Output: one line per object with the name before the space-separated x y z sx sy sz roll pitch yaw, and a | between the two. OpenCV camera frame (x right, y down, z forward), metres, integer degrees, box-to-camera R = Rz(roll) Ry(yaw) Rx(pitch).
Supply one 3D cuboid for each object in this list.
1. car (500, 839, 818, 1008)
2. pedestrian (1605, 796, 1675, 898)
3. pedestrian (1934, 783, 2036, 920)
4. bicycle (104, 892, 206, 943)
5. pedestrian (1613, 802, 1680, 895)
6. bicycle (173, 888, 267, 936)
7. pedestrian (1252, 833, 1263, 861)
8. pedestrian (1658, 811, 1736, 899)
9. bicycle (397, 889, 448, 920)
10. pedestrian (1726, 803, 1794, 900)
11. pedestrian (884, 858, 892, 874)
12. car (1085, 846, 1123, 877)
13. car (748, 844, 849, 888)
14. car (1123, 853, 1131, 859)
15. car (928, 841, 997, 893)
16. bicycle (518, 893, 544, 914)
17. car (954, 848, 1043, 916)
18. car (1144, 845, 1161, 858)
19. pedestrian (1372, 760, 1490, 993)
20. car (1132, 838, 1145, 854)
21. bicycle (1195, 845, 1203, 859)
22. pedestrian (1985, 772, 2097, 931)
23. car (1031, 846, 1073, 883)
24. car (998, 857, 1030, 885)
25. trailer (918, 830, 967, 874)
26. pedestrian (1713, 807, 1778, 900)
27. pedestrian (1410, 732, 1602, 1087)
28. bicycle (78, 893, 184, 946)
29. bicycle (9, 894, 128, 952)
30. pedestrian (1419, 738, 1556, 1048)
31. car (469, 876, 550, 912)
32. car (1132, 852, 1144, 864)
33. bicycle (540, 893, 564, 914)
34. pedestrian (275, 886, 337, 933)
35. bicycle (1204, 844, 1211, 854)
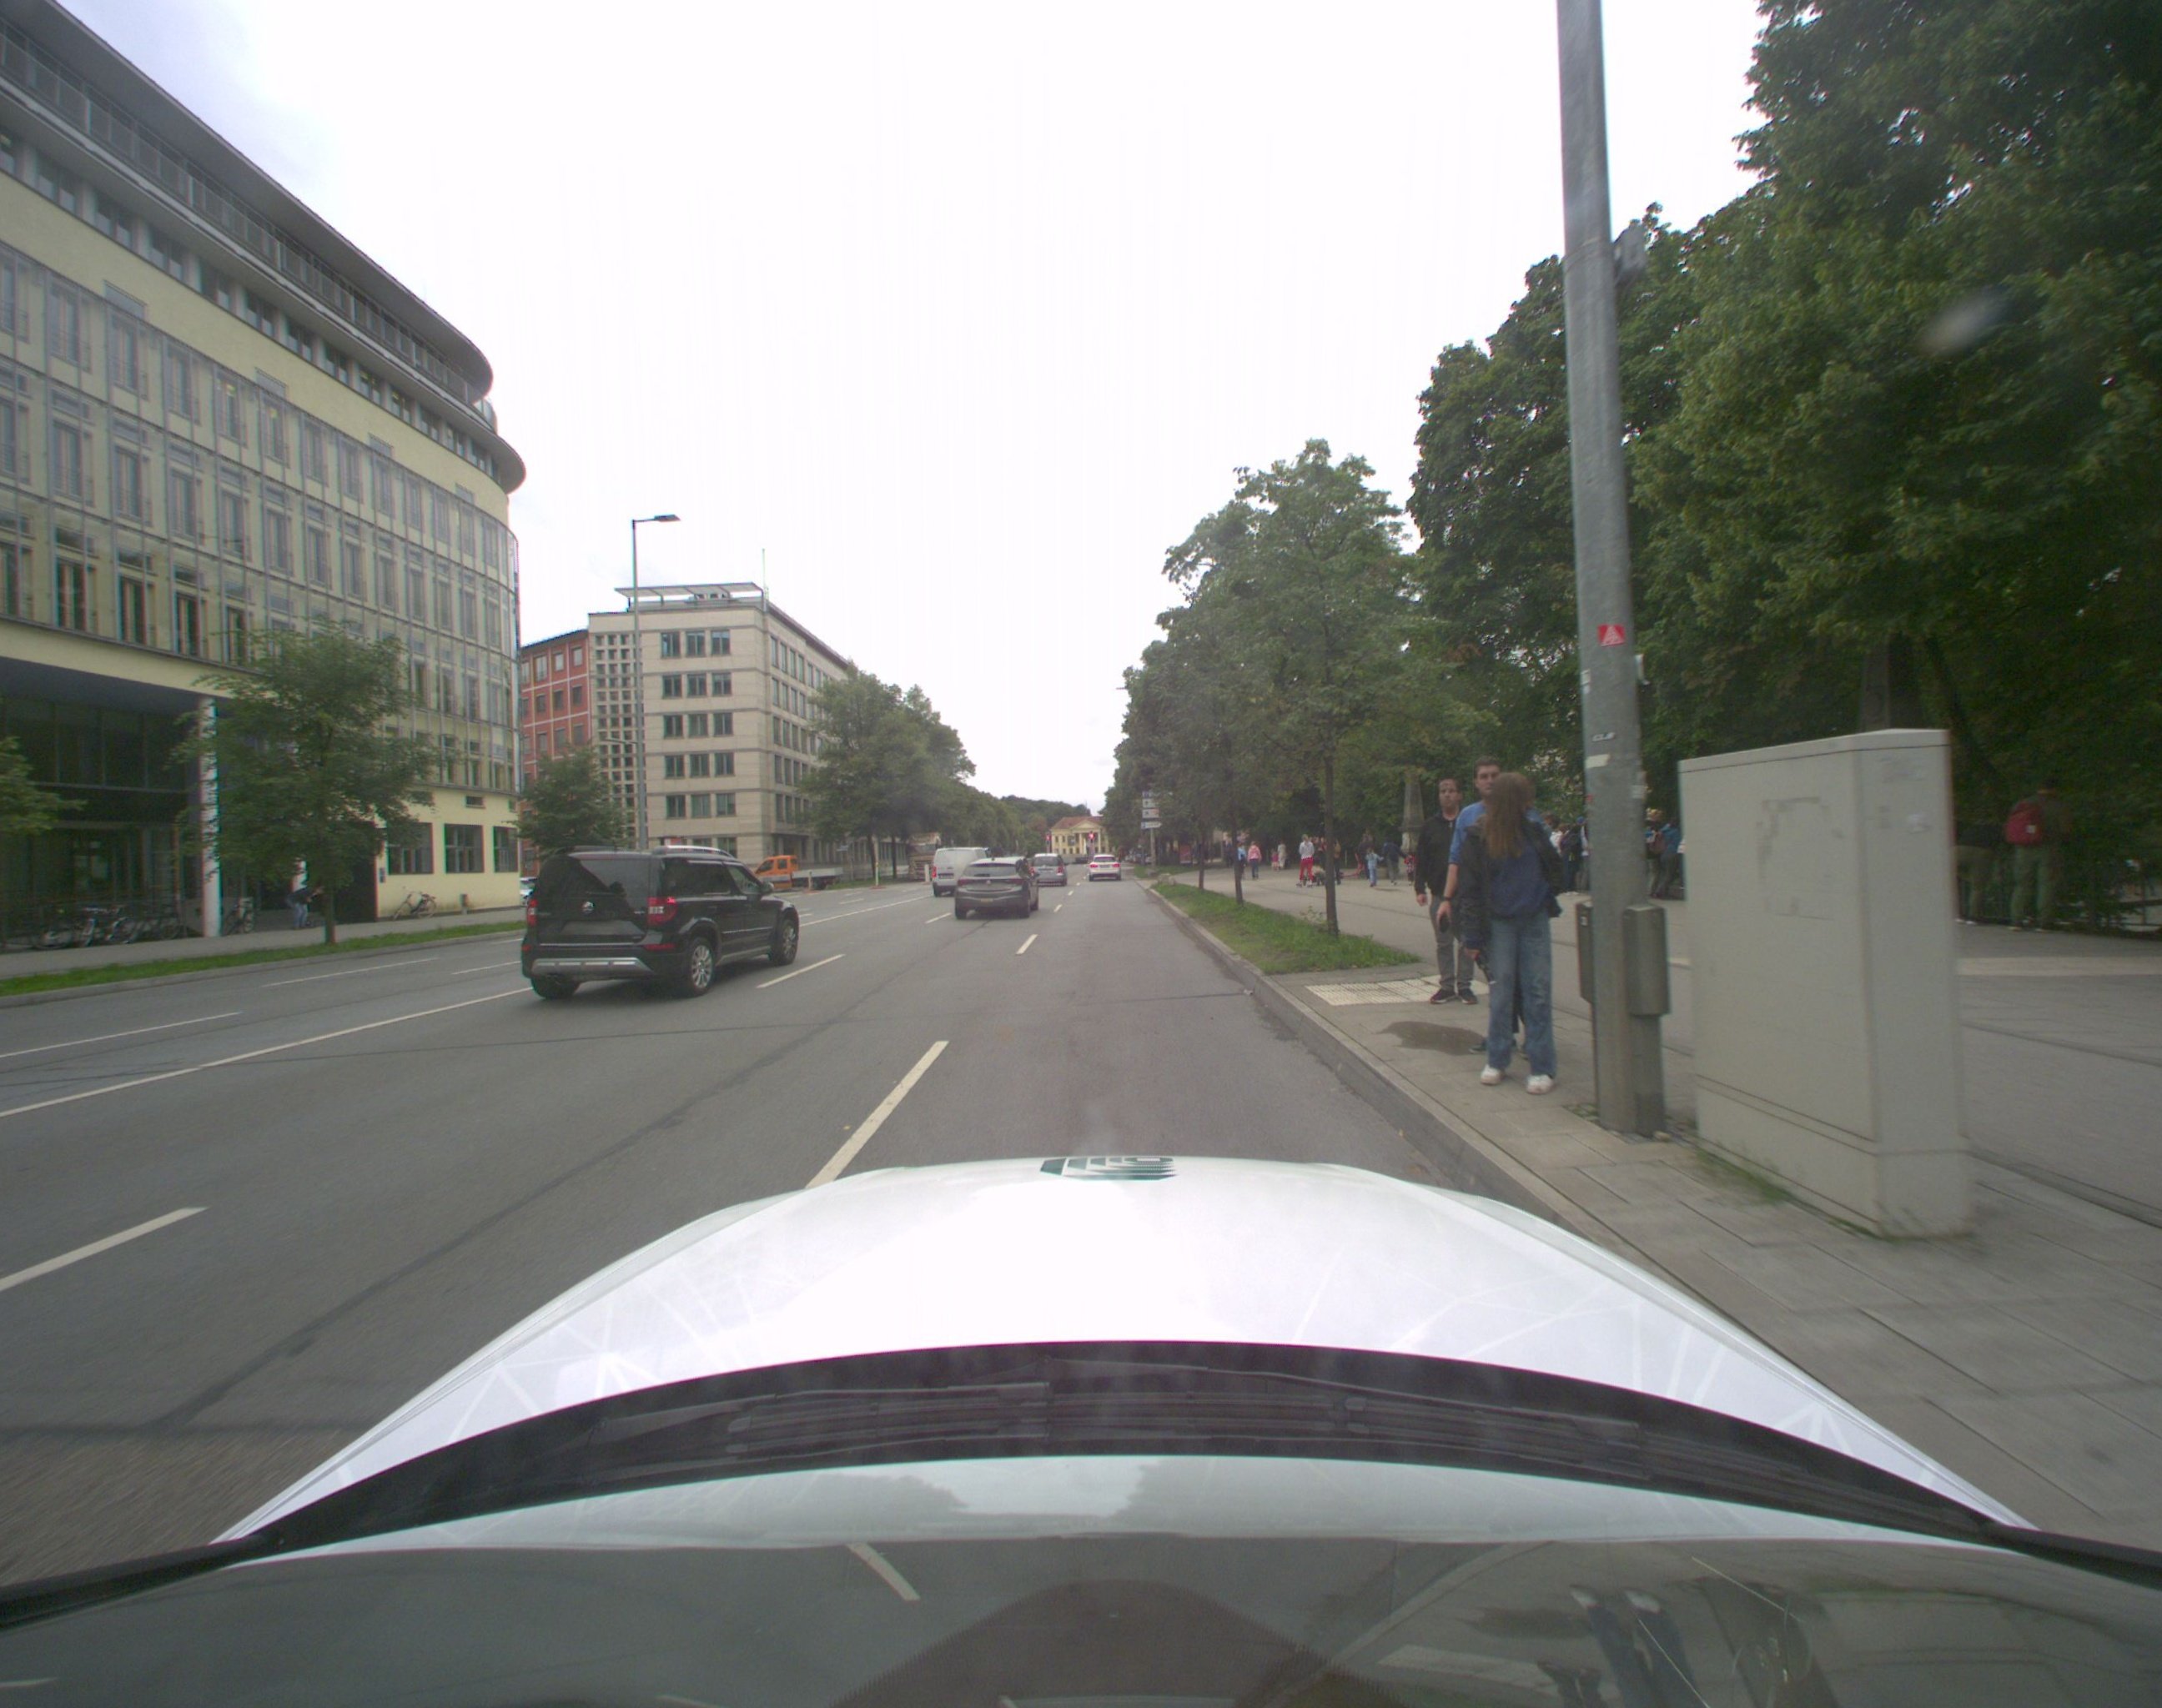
car | -4.954 0.705 10.353 1.716 1.636 4.206 -2 0 1
pedestrian | 10.382 -0.127 15.148 0.808 1.829 0.729 -1 0 4
pedestrian | 11.078 -0.034 9.992 0.633 1.627 0.533 -1 0 4
bicycle | -25.449 1.736 22.395 2.004 1.318 0.574 -1 0 -4
pedestrian | 11.063 -0.102 15.949 0.808 1.768 0.729 -1 0 4
bicycle | -25.455 1.707 24.093 2.004 1.318 0.574 -1 0 -4
pedestrian | 11.802 -0.476 54.407 0.585 1.822 0.850 -1 0 2
pedestrian | 10.813 0.016 14.320 0.808 1.507 0.729 -1 0 4
bicycle | -23.976 1.821 29.670 0.571 1.013 1.592 -1 0 -2
pedestrian | 10.878 -0.042 13.065 0.633 1.507 0.533 -1 0 4
pedestrian | -21.811 1.382 92.038 0.576 1.732 0.764 -1 0 2
car | 1.258 0.379 46.178 1.775 1.644 3.995 -1 0 -3
car | -18.115 0.742 52.464 5.667 2.536 2.155 -3 0 -3
car | 10.502 0.408 186.425 1.717 1.324 4.030 -3 0 2
car | -4.688 0.482 32.924 1.891 1.847 4.957 -2 0 1
bicycle | -24.966 2.224 36.942 1.715 0.877 0.590 -2 0 43
car | -2.016 0.635 20.940 1.703 1.552 4.003 -1 0 2
car | 8.930 -0.342 101.412 1.820 1.549 4.754 -3 0 2
pedestrian | 3.022 0.179 7.030 0.795 1.881 0.547 -1 0 38
car | 9.794 -1.358 138.892 1.987 2.643 4.878 -1 0 0
bicycle | 8.615 -0.164 59.525 0.383 1.021 2.080 -1 0 2
pedestrian | 11.047 -0.027 9.389 0.633 1.768 0.533 -1 0 4
car | -1.362 0.471 39.754 1.773 1.654 4.001 -1 0 1
car | -4.216 1.061 51.535 1.774 1.654 3.998 -1 0 -2
trailer | -12.697 -0.231 75.744 2.942 3.740 11.761 -1 0 -2
pedestrian | 11.079 -0.013 13.600 0.633 1.507 0.533 -1 0 4
pedestrian | 2.307 0.284 4.490 0.705 1.808 0.639 -1 0 1
bicycle | -25.388 1.738 21.793 2.004 1.318 0.574 -1 0 -4
bicycle | -25.261 1.710 20.340 2.004 1.318 0.638 -1 0 -4
pedestrian | 2.611 0.224 5.218 0.630 1.808 0.715 -1 0 38
car | -31.014 2.170 44.193 4.273 1.750 1.882 -2 0 30
car | 9.328 0.694 132.749 1.717 1.867 4.030 -3 0 2
bicycle | -26.942 2.517 41.465 1.822 1.021 0.590 -2 0 43
pedestrian | -24.501 1.740 25.768 0.834 1.364 1.087 -3 0 1
bicycle | 18.184 -0.761 116.867 0.696 1.415 2.300 -3 0 2
